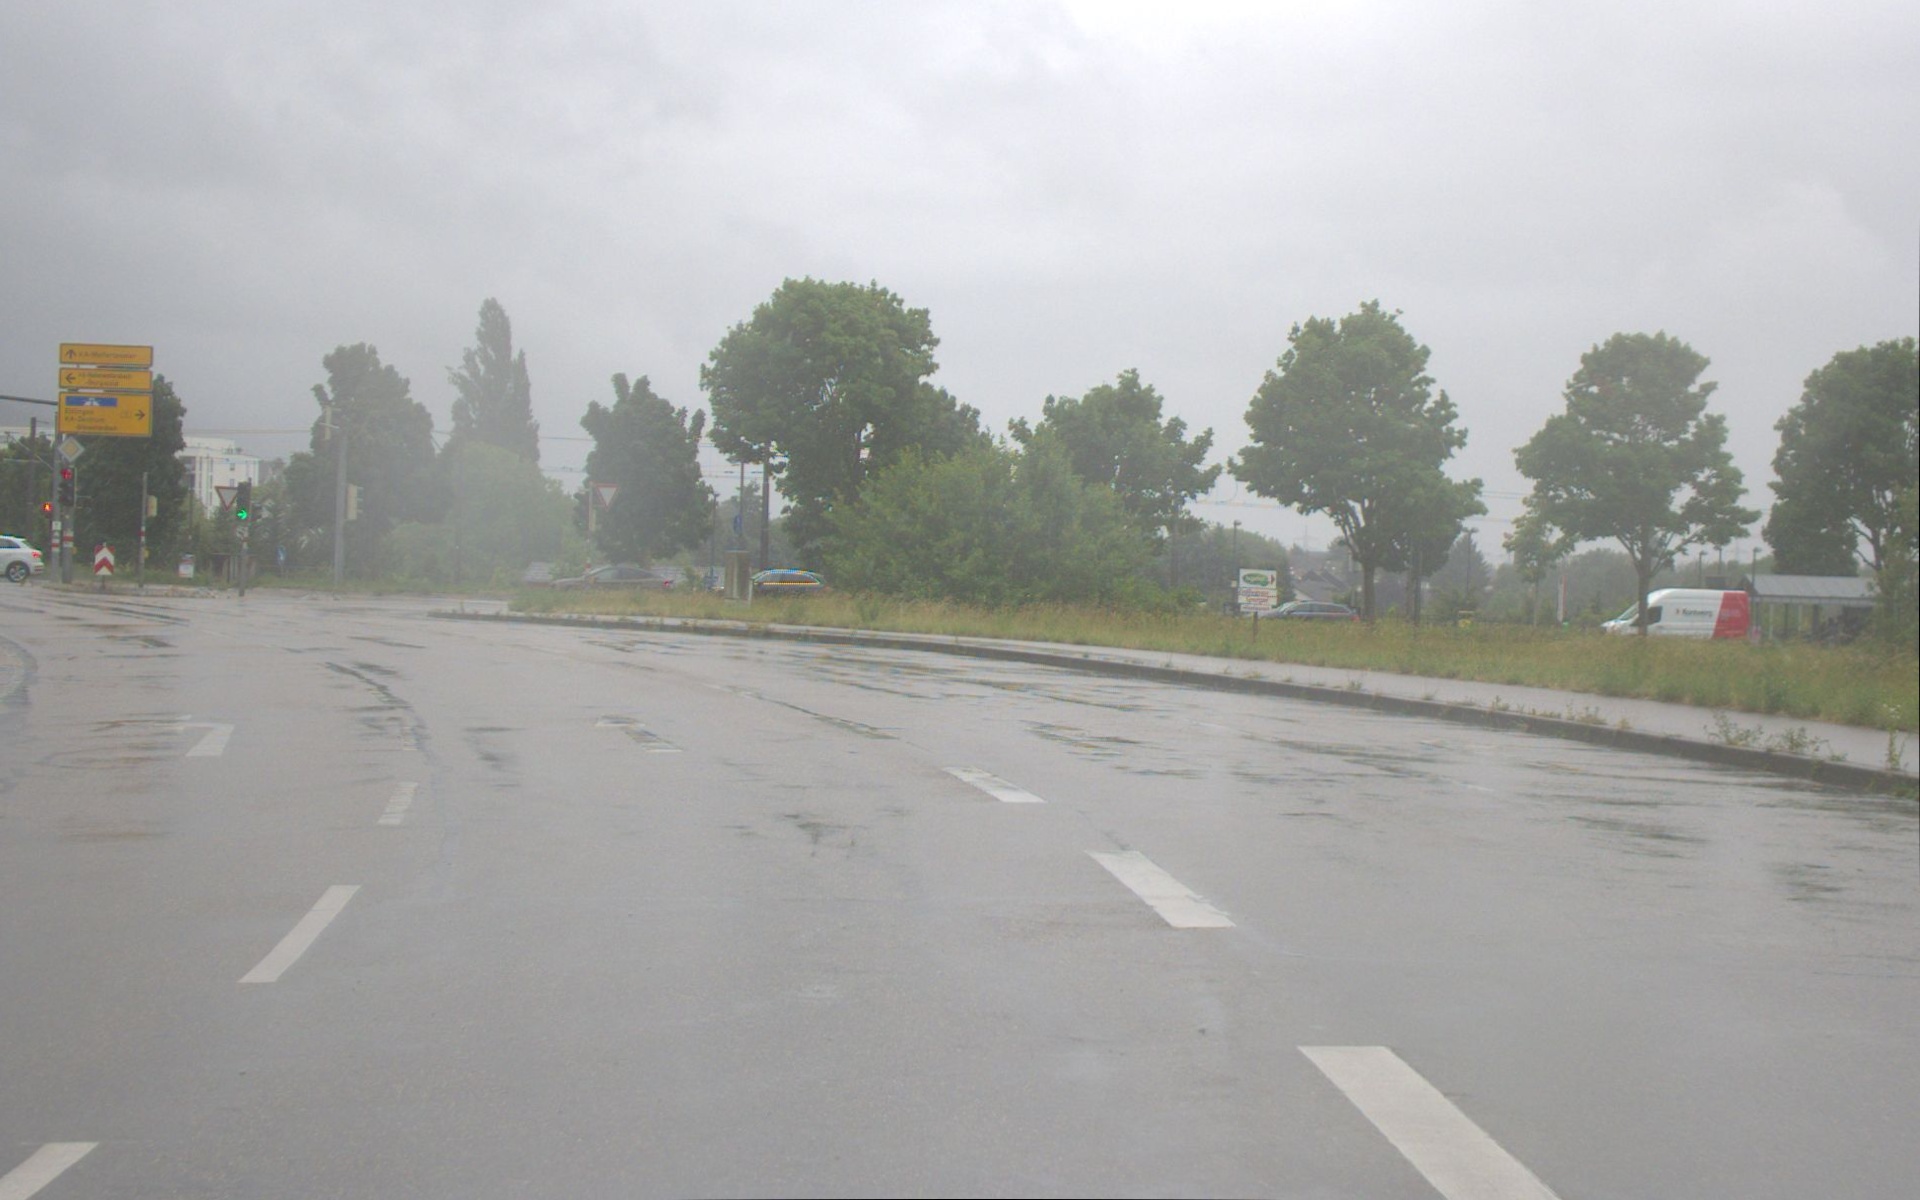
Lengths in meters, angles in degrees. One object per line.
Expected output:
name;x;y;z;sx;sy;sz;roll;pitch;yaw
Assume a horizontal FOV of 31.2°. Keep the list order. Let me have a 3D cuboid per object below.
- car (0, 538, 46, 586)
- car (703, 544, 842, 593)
car;-33.514;-1.345;117.421;4.374;1.574;1.733;2;0;-15
car;-6.809;-1.143;124.599;4.668;1.633;1.823;1;1;-19
